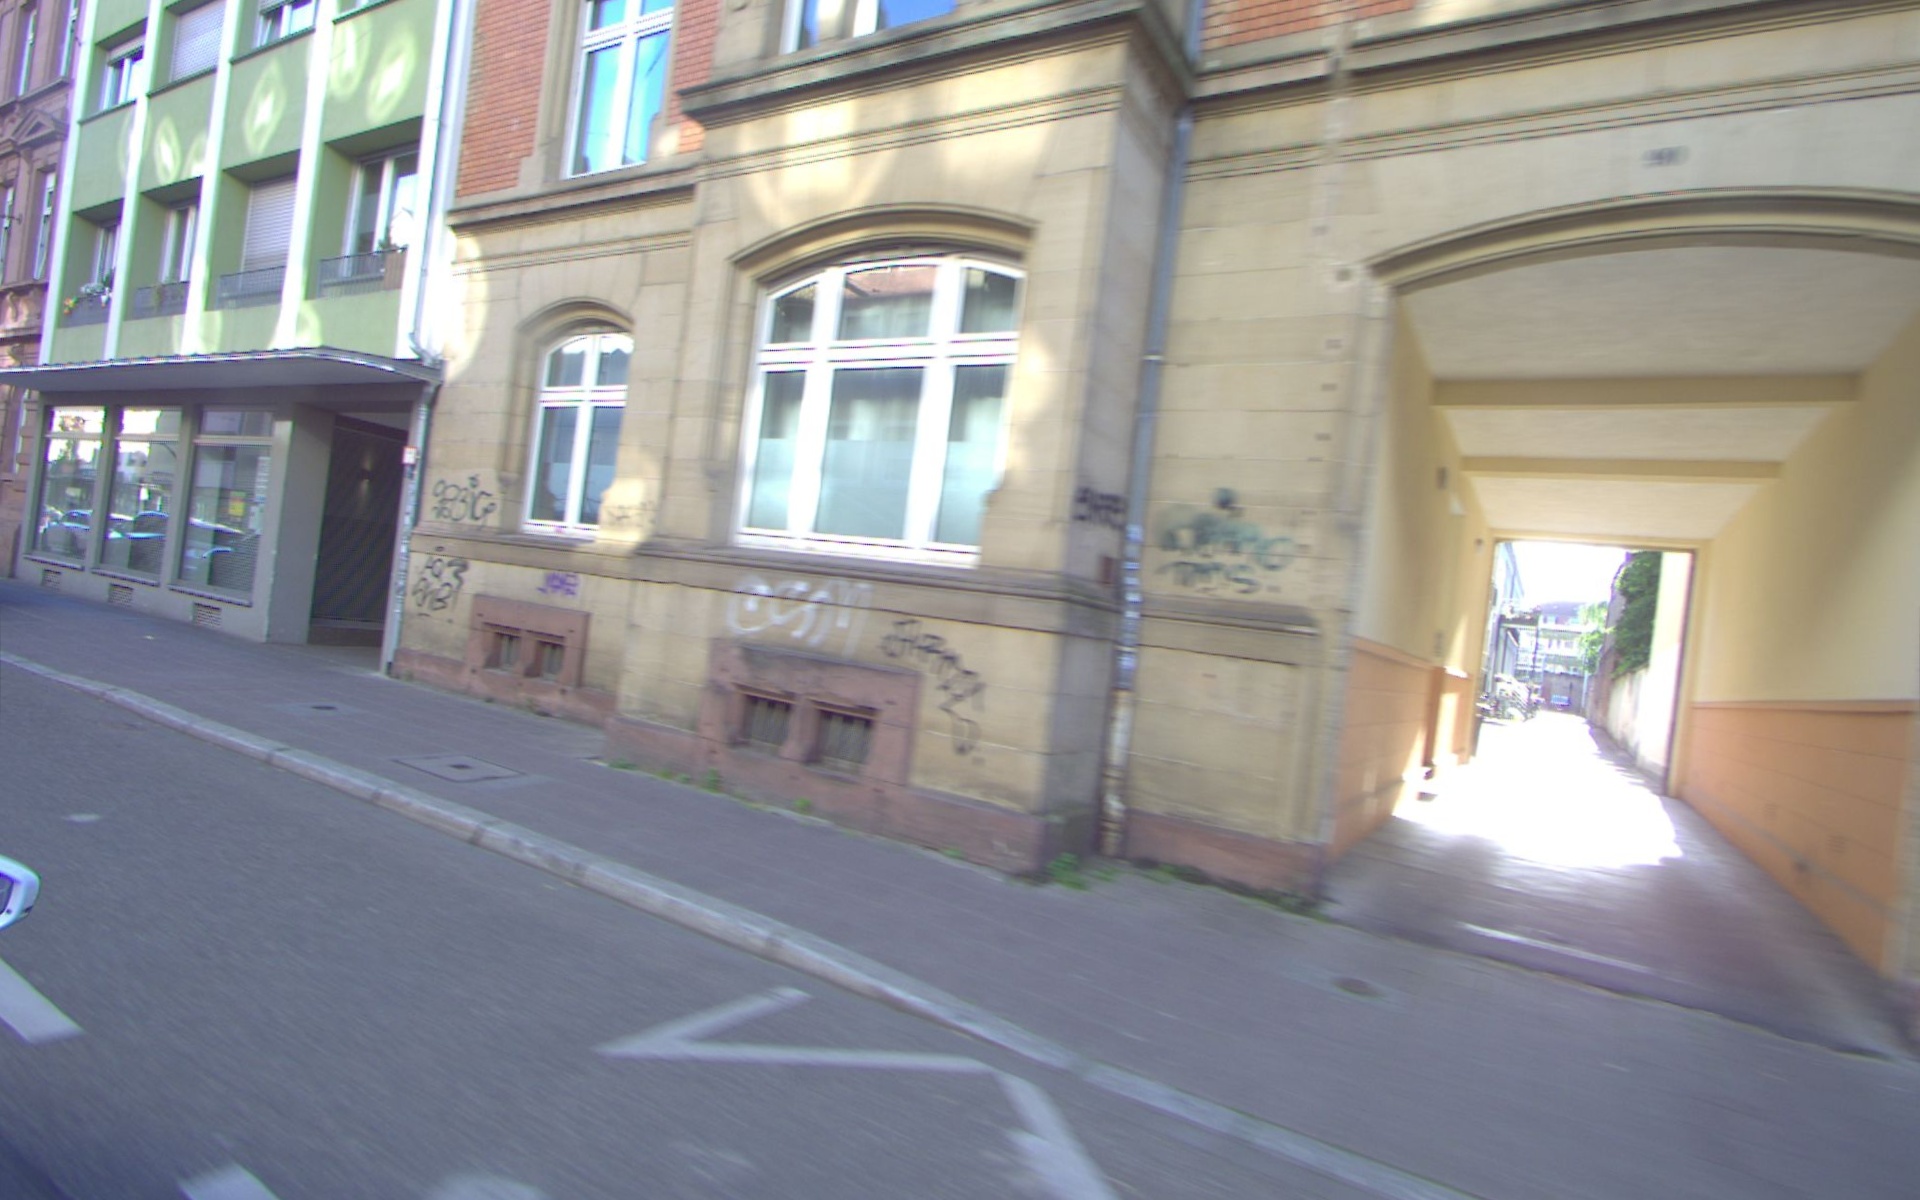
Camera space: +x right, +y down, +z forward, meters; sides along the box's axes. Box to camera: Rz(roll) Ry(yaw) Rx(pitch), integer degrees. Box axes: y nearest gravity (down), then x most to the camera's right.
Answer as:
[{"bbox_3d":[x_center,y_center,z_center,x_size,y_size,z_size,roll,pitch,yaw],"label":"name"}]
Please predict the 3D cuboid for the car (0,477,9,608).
[{"bbox_3d":[-14.551,-0.967,13.073,4.707,1.637,1.994,6,1,32],"label":"car"}]

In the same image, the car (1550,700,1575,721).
[{"bbox_3d":[62.354,11.453,104.088,1.967,1.803,3.995,6,-3,32],"label":"car"}]
